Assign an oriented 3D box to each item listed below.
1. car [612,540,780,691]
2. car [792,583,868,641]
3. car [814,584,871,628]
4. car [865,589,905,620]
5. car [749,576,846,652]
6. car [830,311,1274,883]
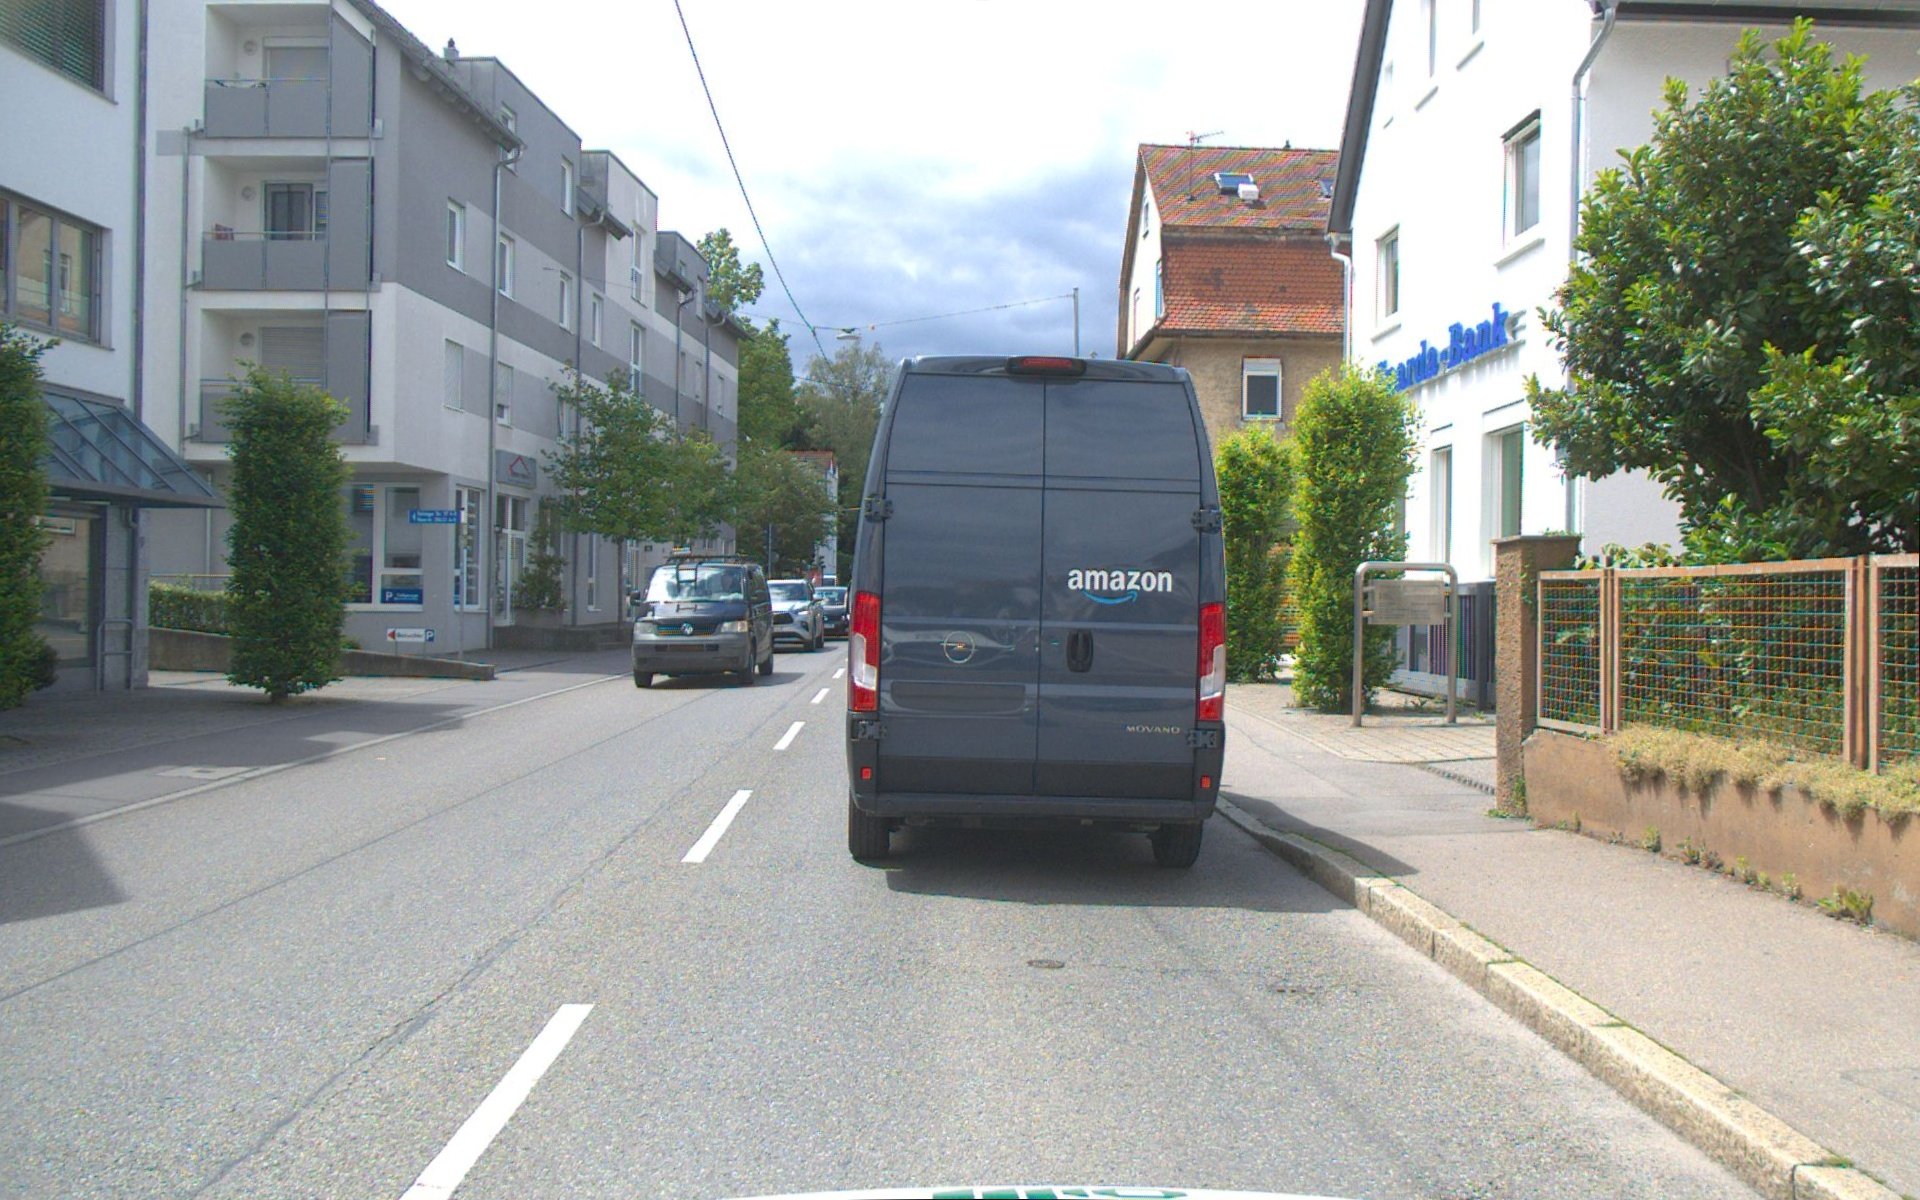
[{"bbox_3d":[-4.130,0.206,26.631,2.063,2.158,4.763,-2,0,-2],"label":"car"},{"bbox_3d":[-3.829,0.323,49.396,2.063,1.624,4.648,0,0,-2],"label":"car"},{"bbox_3d":[-4.558,0.223,64.516,2.063,1.624,4.648,0,0,-2],"label":"car"},{"bbox_3d":[-3.961,0.212,88.106,2.063,1.624,4.648,0,0,-2],"label":"car"},{"bbox_3d":[-3.901,0.312,40.452,2.063,1.739,4.763,0,0,-2],"label":"car"},{"bbox_3d":[0.406,-0.024,11.061,2.207,2.844,5.568,0,0,-1],"label":"car"}]
